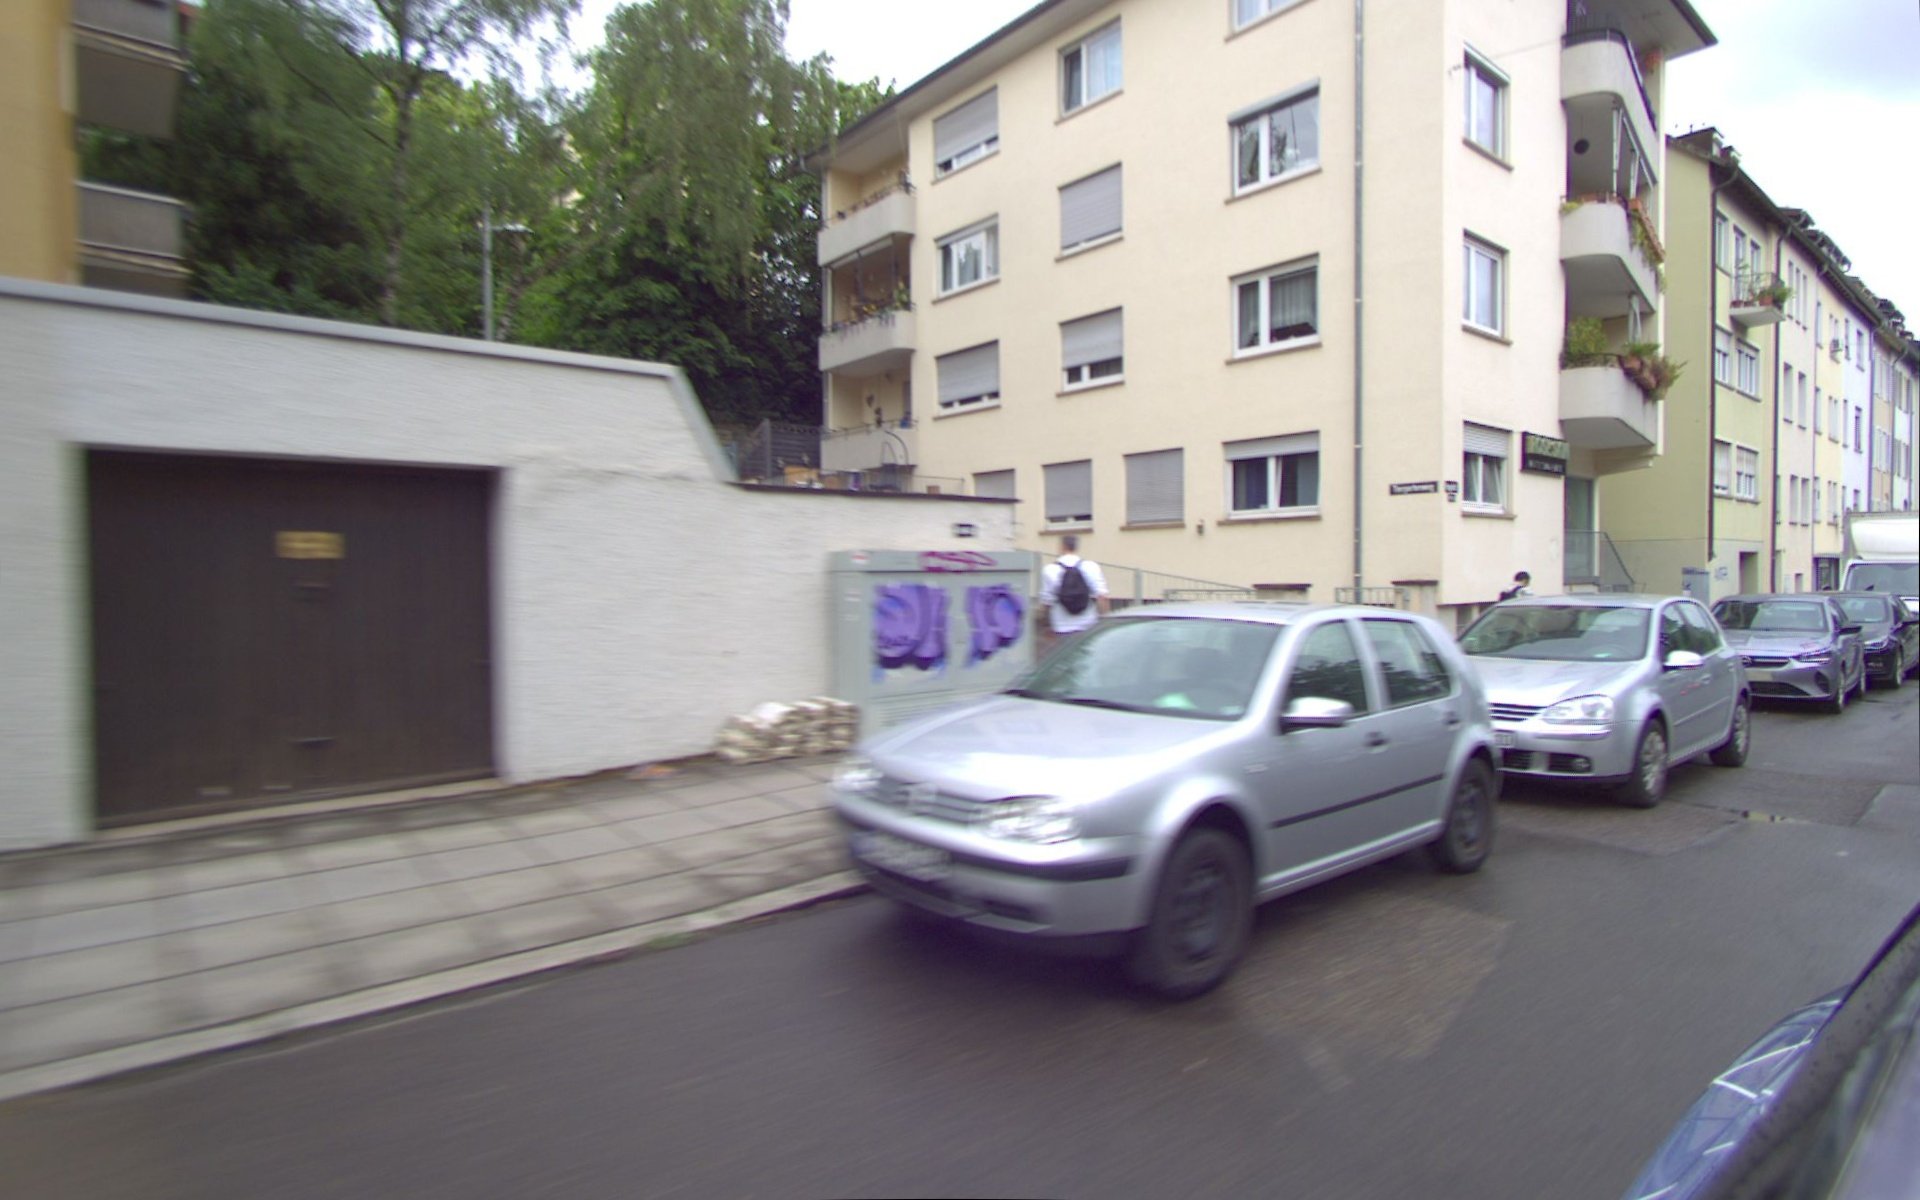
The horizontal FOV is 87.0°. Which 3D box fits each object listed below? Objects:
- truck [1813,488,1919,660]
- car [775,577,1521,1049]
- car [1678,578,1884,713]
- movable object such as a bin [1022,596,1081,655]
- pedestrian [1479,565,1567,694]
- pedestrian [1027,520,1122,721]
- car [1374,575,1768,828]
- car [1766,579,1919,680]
[{"bbox_3d":[20.353,-0.573,21.312,6.912,3.211,2.475,-2,2,-40],"label":"truck"},{"bbox_3d":[1.179,0.621,5.055,3.854,1.417,1.666,-2,3,-42],"label":"car"},{"bbox_3d":[11.094,0.486,13.584,3.857,1.438,1.665,-3,3,-44],"label":"car"},{"bbox_3d":[1.529,0.414,16.928,0.642,0.888,0.742,-2,5,-43],"label":"movable object such as a bin"},{"bbox_3d":[7.480,0.366,13.459,0.730,1.622,0.667,-1,5,-36],"label":"pedestrian"},{"bbox_3d":[1.075,0.167,9.436,0.755,1.753,0.742,3,2,9],"label":"pedestrian"},{"bbox_3d":[5.072,0.587,8.195,3.854,1.520,1.666,-2,3,-42],"label":"car"},{"bbox_3d":[14.664,0.409,16.484,3.971,1.438,1.667,0,1,-41],"label":"car"}]
